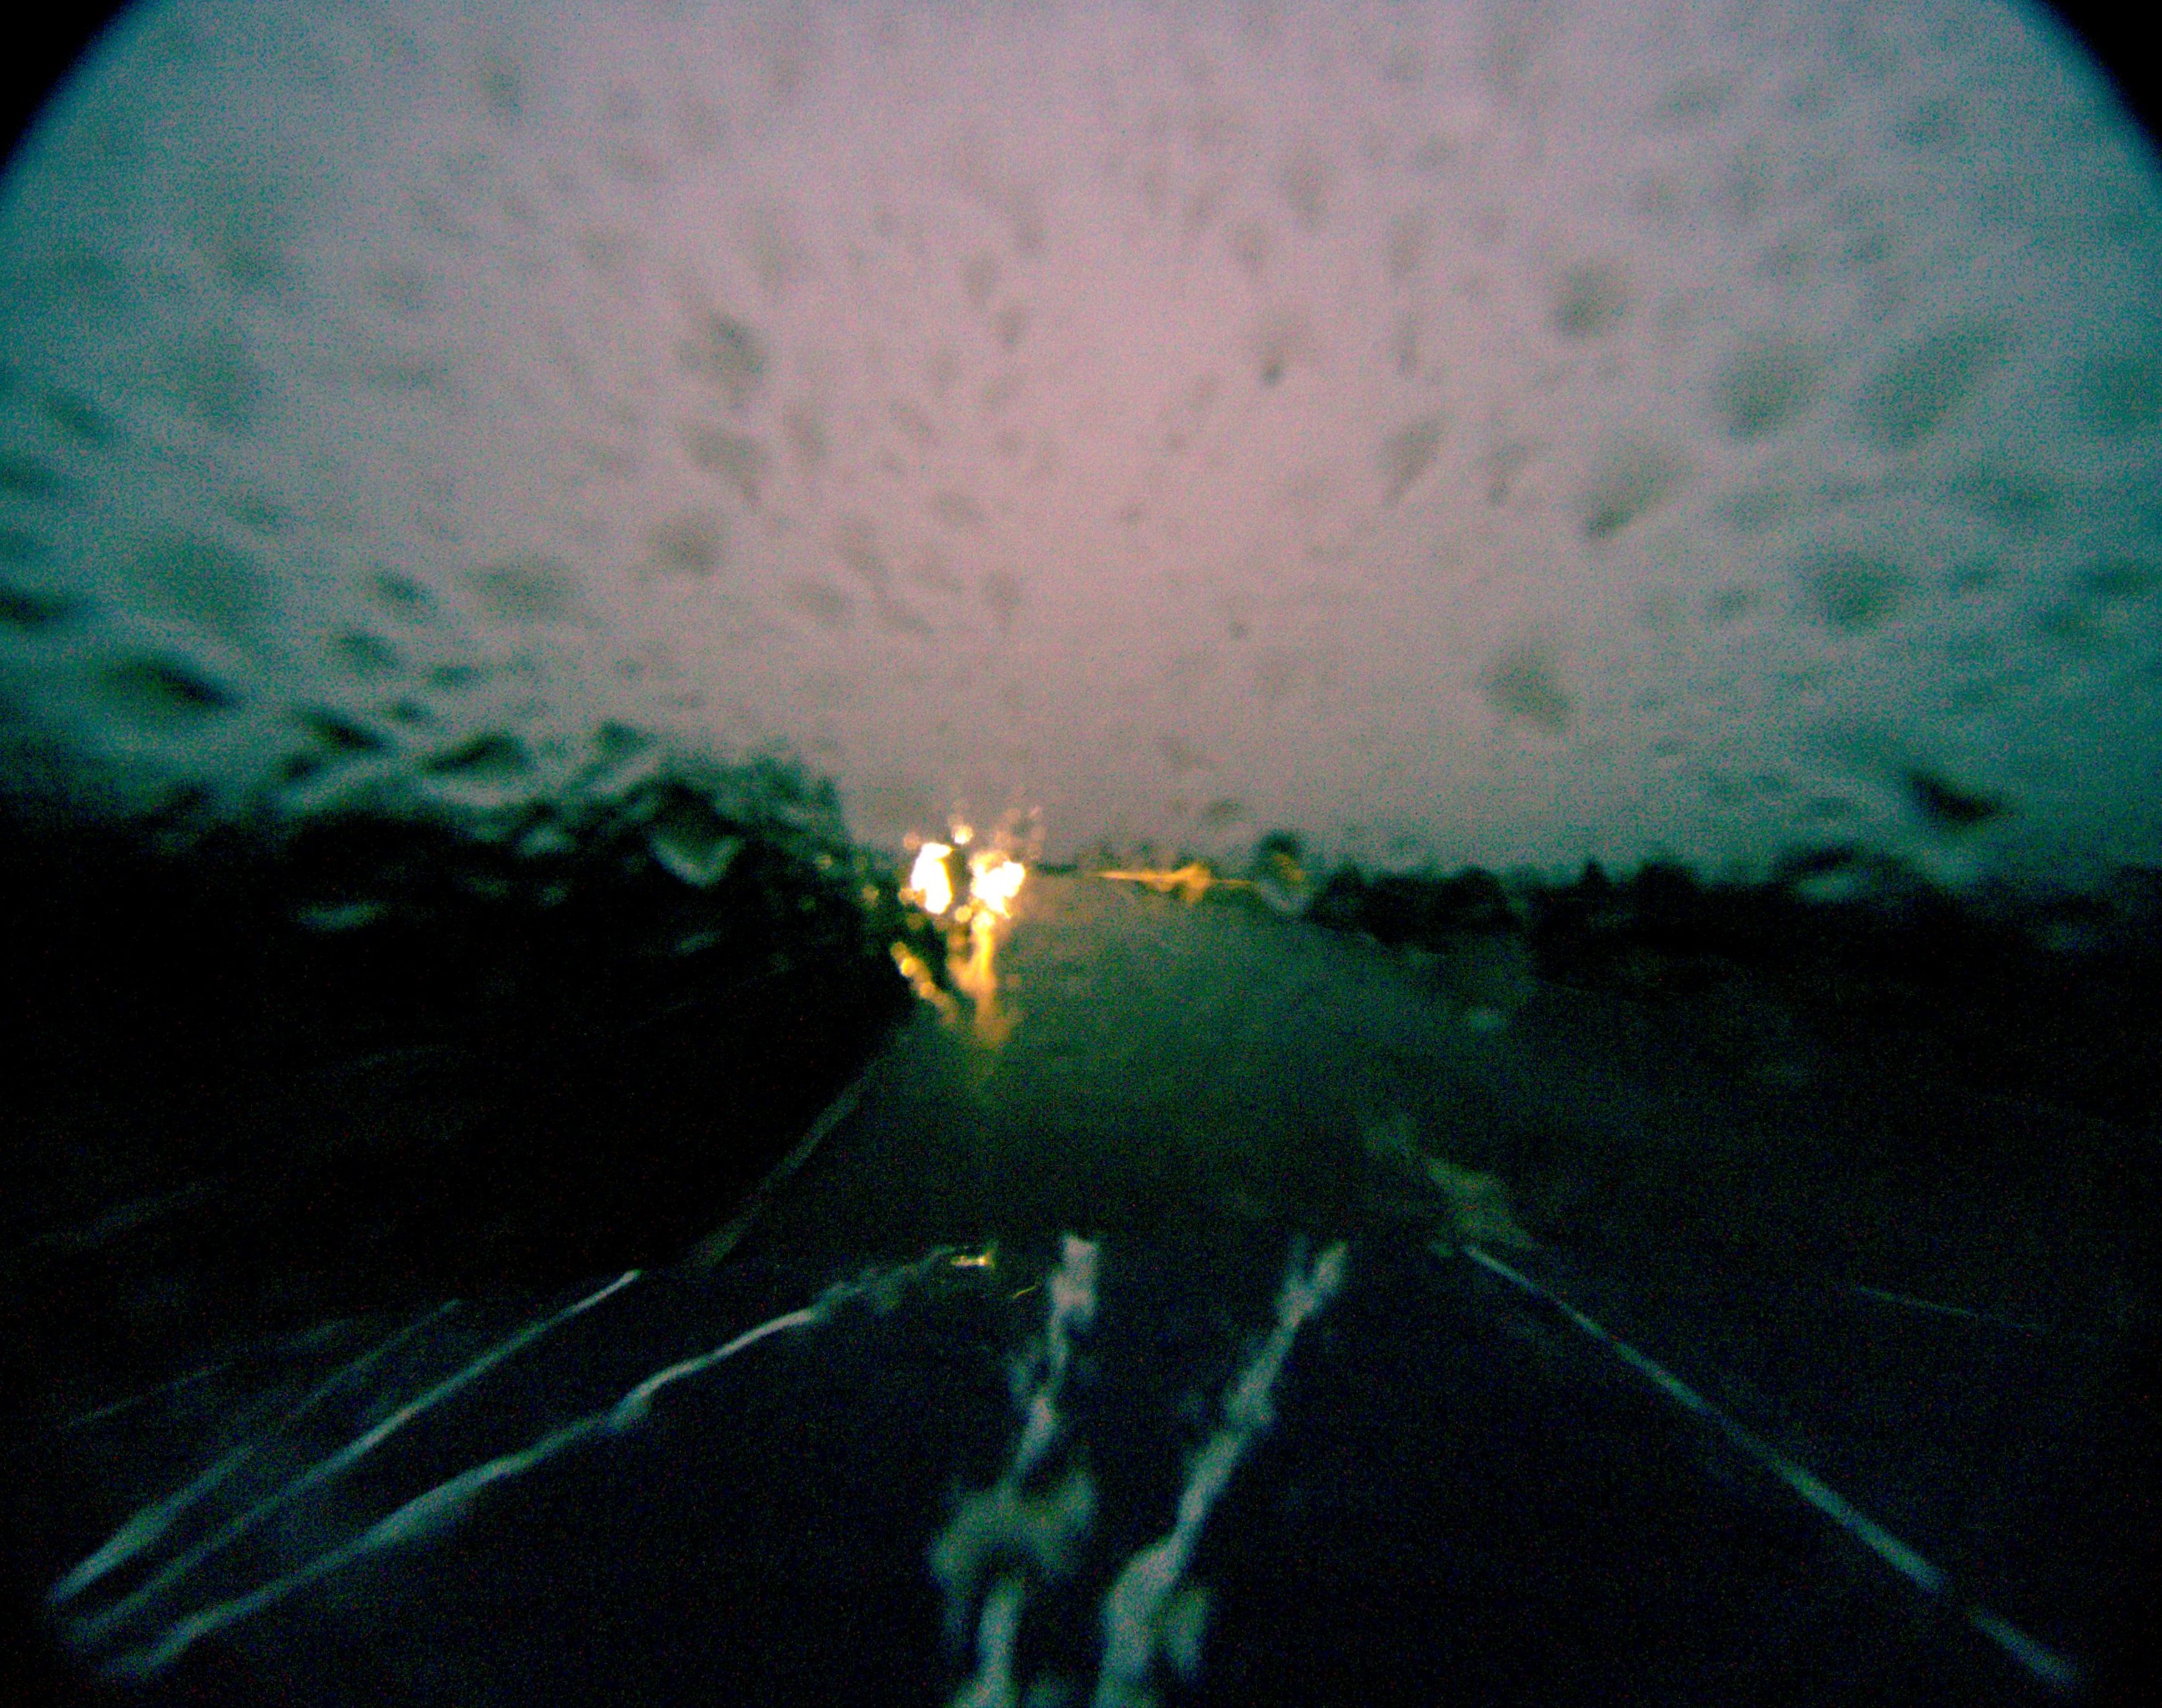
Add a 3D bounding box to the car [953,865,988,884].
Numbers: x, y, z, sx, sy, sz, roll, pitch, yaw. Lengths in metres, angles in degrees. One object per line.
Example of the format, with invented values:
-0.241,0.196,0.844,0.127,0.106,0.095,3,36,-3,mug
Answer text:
-9.516,1.759,65.252,2.106,1.565,4.793,1,-2,-18,car
